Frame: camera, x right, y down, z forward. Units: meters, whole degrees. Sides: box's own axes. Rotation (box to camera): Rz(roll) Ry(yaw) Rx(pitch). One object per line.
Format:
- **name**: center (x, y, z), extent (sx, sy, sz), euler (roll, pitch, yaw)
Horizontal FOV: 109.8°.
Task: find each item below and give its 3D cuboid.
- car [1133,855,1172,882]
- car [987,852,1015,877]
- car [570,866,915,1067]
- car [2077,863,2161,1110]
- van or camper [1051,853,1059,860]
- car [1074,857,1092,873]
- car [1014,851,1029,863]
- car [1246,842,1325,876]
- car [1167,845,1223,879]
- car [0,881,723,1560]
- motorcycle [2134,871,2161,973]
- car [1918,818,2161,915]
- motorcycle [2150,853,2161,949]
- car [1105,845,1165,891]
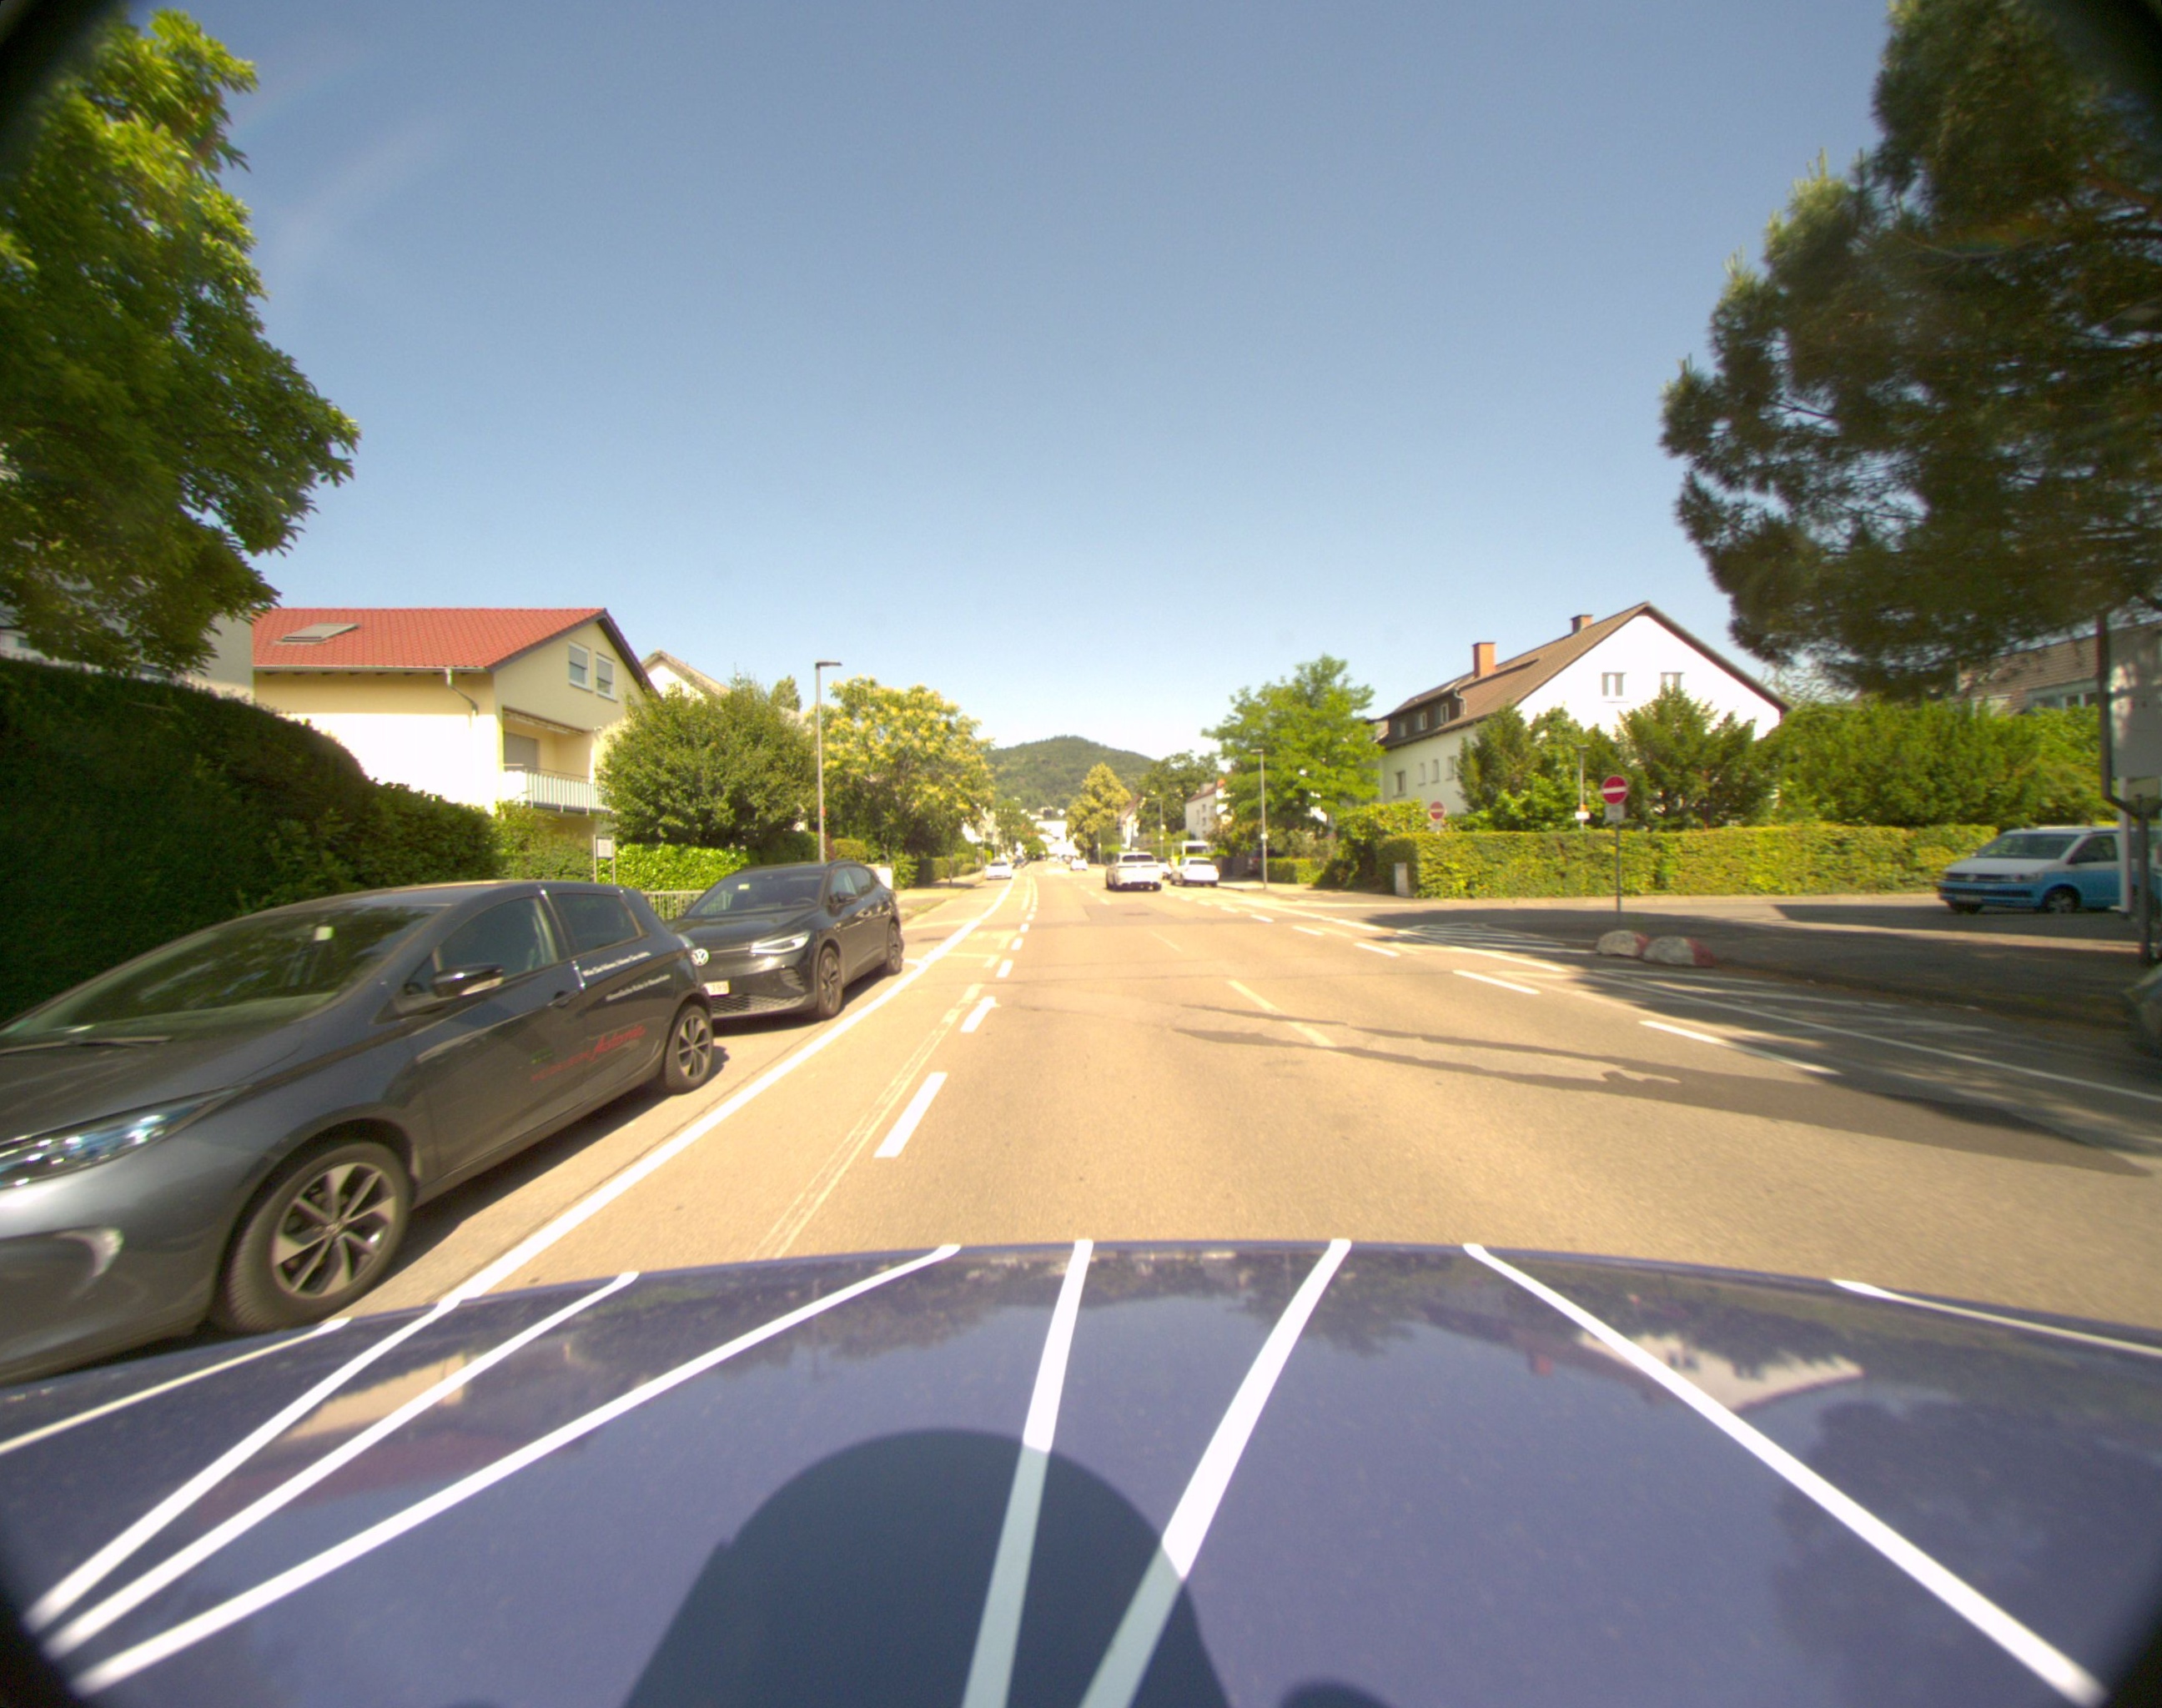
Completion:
- **car**: center (4.641, 0.919, 49.853), extent (1.999, 1.608, 3.999), euler (-2, 0, -2)
- **car**: center (-5.999, 0.725, 56.820), extent (2.000, 1.696, 3.997), euler (-2, 1, -7)
- **car**: center (-3.400, 1.004, 8.815), extent (1.816, 1.550, 4.600), euler (-4, 0, 0)
- **car**: center (7.384, 0.774, 2.802), extent (1.846, 1.449, 4.192), euler (0, 0, -3)
- **van or camper**: center (-6.707, 0.733, 196.327), extent (1.998, 1.705, 4.000), euler (-1, 0, 1)
- **car**: center (0.191, 1.170, 85.654), extent (1.865, 1.741, 3.999), euler (-1, 0, -3)
- **car**: center (-8.810, 0.453, 111.667), extent (2.000, 1.696, 3.997), euler (-2, 1, -7)
- **car**: center (11.340, 0.275, 42.379), extent (3.994, 1.805, 2.001), euler (-1, 0, 7)
- **car**: center (5.565, 0.374, 37.497), extent (1.959, 1.543, 3.999), euler (-2, 0, -2)
- **car**: center (-3.648, 1.060, 3.703), extent (1.817, 1.550, 3.916), euler (-6, 0, 0)
- **motorcycle**: center (12.116, 0.712, 8.185), extent (1.219, 1.063, 0.426), euler (-2, 1, -11)
- **car**: center (21.840, 0.258, 17.042), extent (3.997, 2.002, 2.000), euler (-1, 0, -1)
- **motorcycle**: center (14.616, 0.609, 9.423), extent (0.516, 1.266, 1.501), euler (-1, 0, -11)
- **car**: center (2.253, 0.576, 33.185), extent (2.006, 1.803, 4.763), euler (-1, 0, -3)
